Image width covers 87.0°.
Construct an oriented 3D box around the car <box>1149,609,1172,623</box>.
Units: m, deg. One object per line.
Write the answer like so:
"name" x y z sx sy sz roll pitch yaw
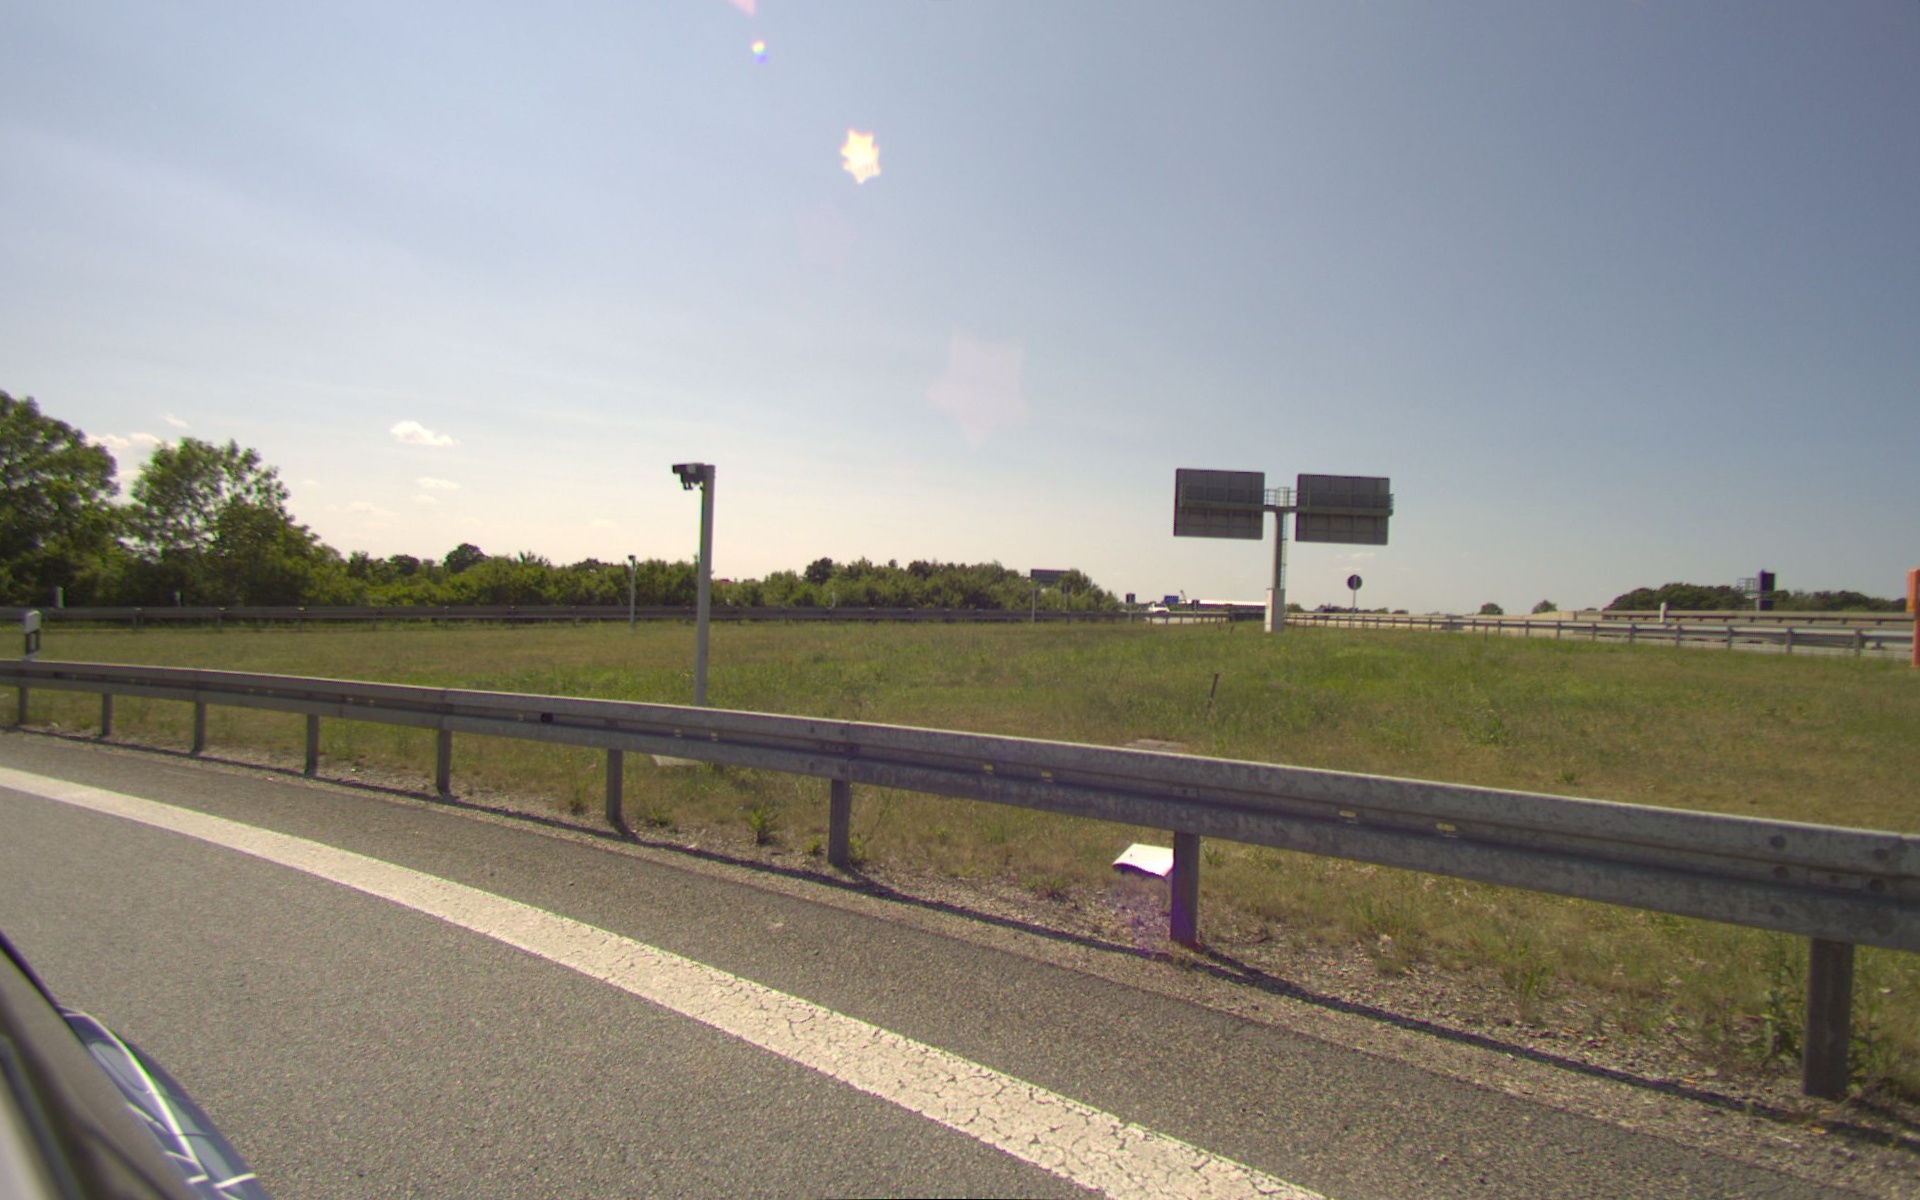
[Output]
"car" 23.181 1.867 117.064 1.985 1.519 4.270 -1 0 20
